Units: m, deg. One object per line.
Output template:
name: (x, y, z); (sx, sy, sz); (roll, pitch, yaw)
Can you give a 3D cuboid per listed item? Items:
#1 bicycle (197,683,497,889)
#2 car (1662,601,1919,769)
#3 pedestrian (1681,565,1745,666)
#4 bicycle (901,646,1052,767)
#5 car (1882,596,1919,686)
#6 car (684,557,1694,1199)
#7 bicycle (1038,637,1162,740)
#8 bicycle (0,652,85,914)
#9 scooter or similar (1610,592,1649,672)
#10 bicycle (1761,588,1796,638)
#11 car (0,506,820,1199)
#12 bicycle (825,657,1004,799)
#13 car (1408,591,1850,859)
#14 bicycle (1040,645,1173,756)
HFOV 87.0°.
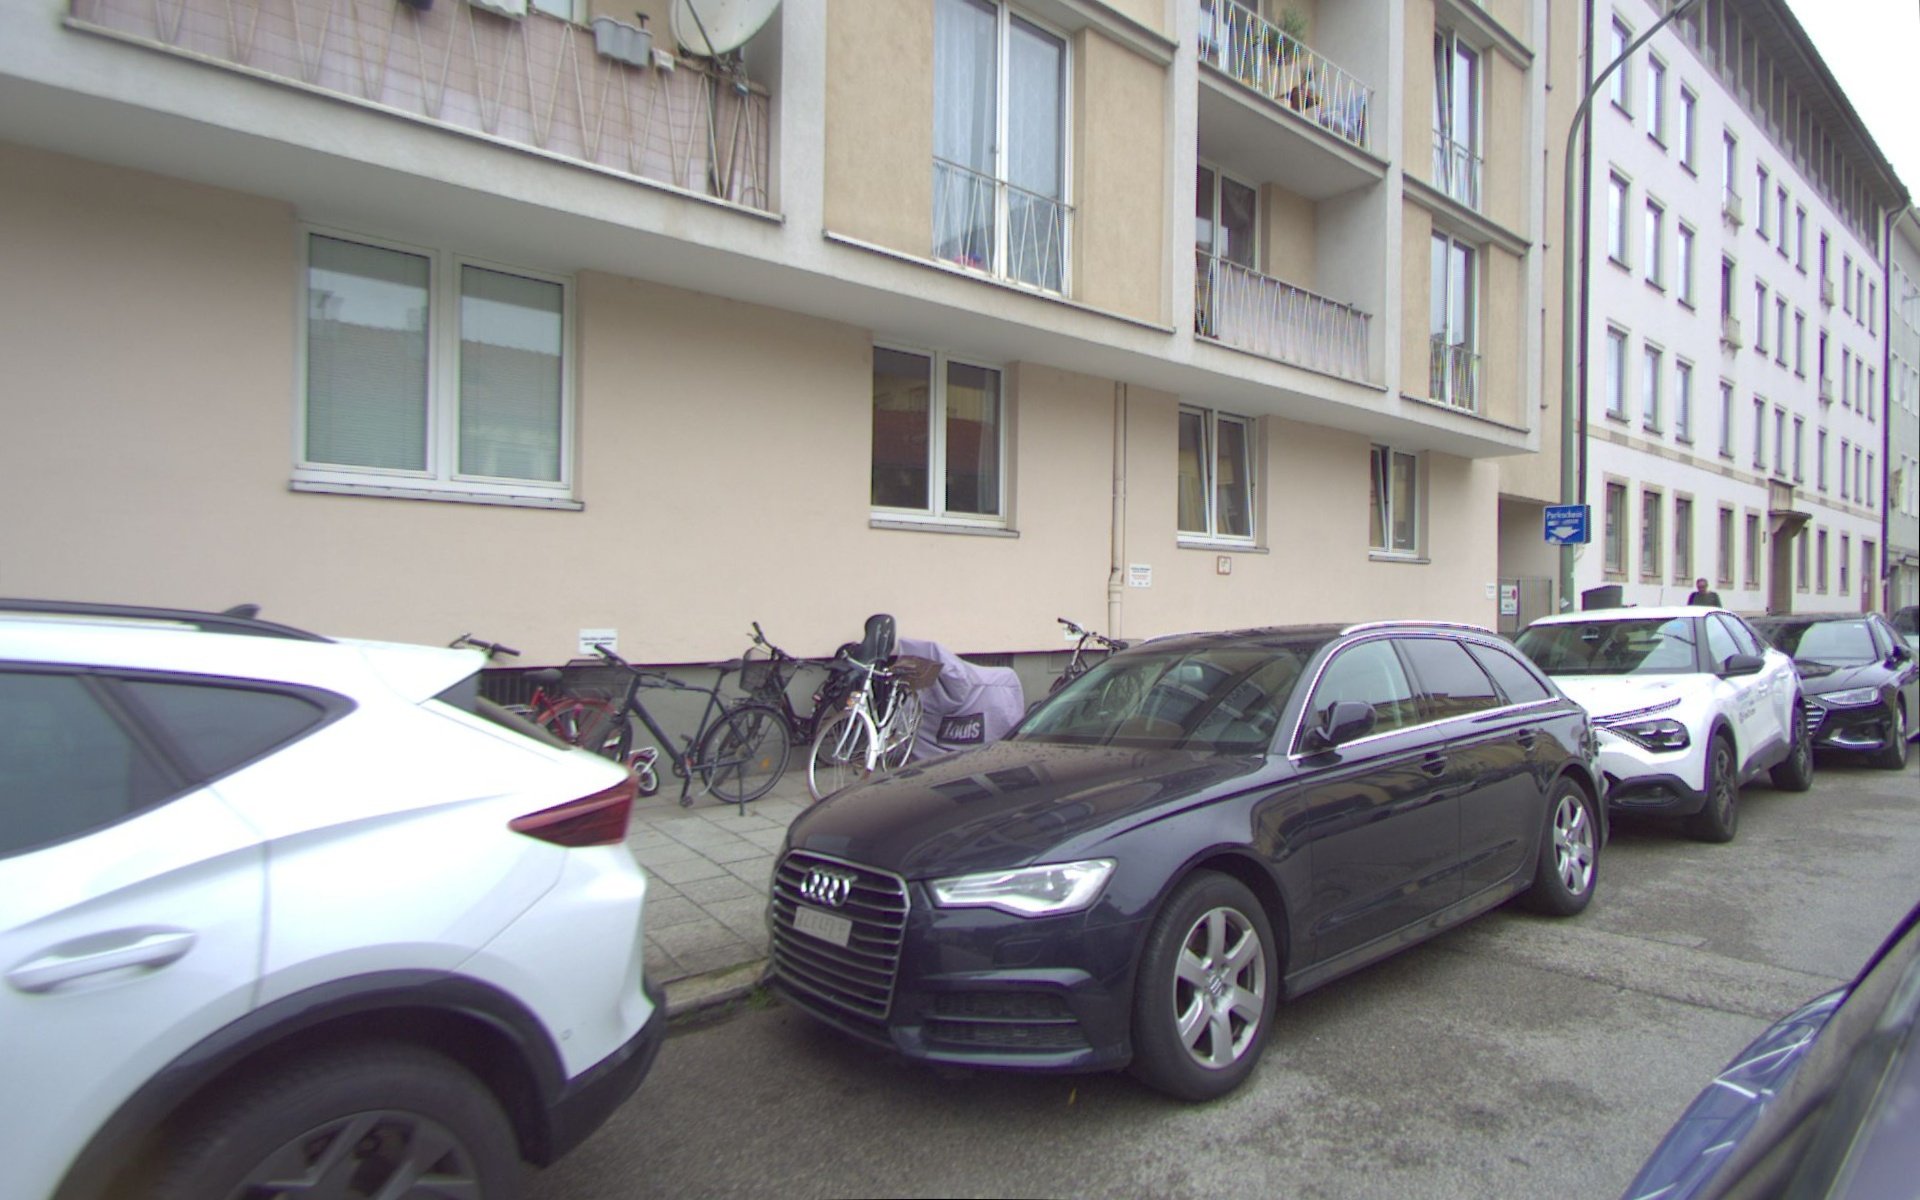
bicycle: (-3.319, 0.961, 5.549); (1.366, 0.916, 0.379); (0, 0, -38)
car: (9.233, 0.736, 10.764); (4.867, 1.406, 1.748); (0, -1, -41)
pedestrian: (13.850, 0.262, 18.616); (0.888, 1.785, 0.724); (-3, 2, -38)
bicycle: (0.163, 0.884, 8.730); (1.366, 0.916, 0.379); (0, 0, -38)
car: (17.403, 0.678, 17.524); (2.828, 1.514, 1.653); (0, -2, -39)
car: (1.492, 0.717, 4.764); (5.070, 1.542, 1.883); (0, -3, -39)
bicycle: (1.398, 0.844, 9.977); (1.366, 0.916, 0.379); (0, 0, -38)
bicycle: (-4.699, 0.822, 4.365); (1.366, 1.133, 0.379); (0, 0, -38)
scooter or similar: (12.470, 0.569, 18.840); (0.439, 1.375, 1.568); (0, 2, 39)
bicycle: (20.990, 0.331, 25.944); (0.512, 1.237, 1.957); (1, 0, 44)
car: (-2.597, 0.673, 1.497); (4.572, 1.553, 1.785); (0, -3, -45)
bicycle: (-0.316, 0.921, 7.597); (1.366, 0.916, 0.379); (0, 1, -38)
car: (5.361, 0.727, 7.838); (4.500, 1.508, 1.696); (0, -2, -41)
bicycle: (1.380, 0.905, 9.407); (1.366, 0.916, 0.379); (0, 0, -38)
